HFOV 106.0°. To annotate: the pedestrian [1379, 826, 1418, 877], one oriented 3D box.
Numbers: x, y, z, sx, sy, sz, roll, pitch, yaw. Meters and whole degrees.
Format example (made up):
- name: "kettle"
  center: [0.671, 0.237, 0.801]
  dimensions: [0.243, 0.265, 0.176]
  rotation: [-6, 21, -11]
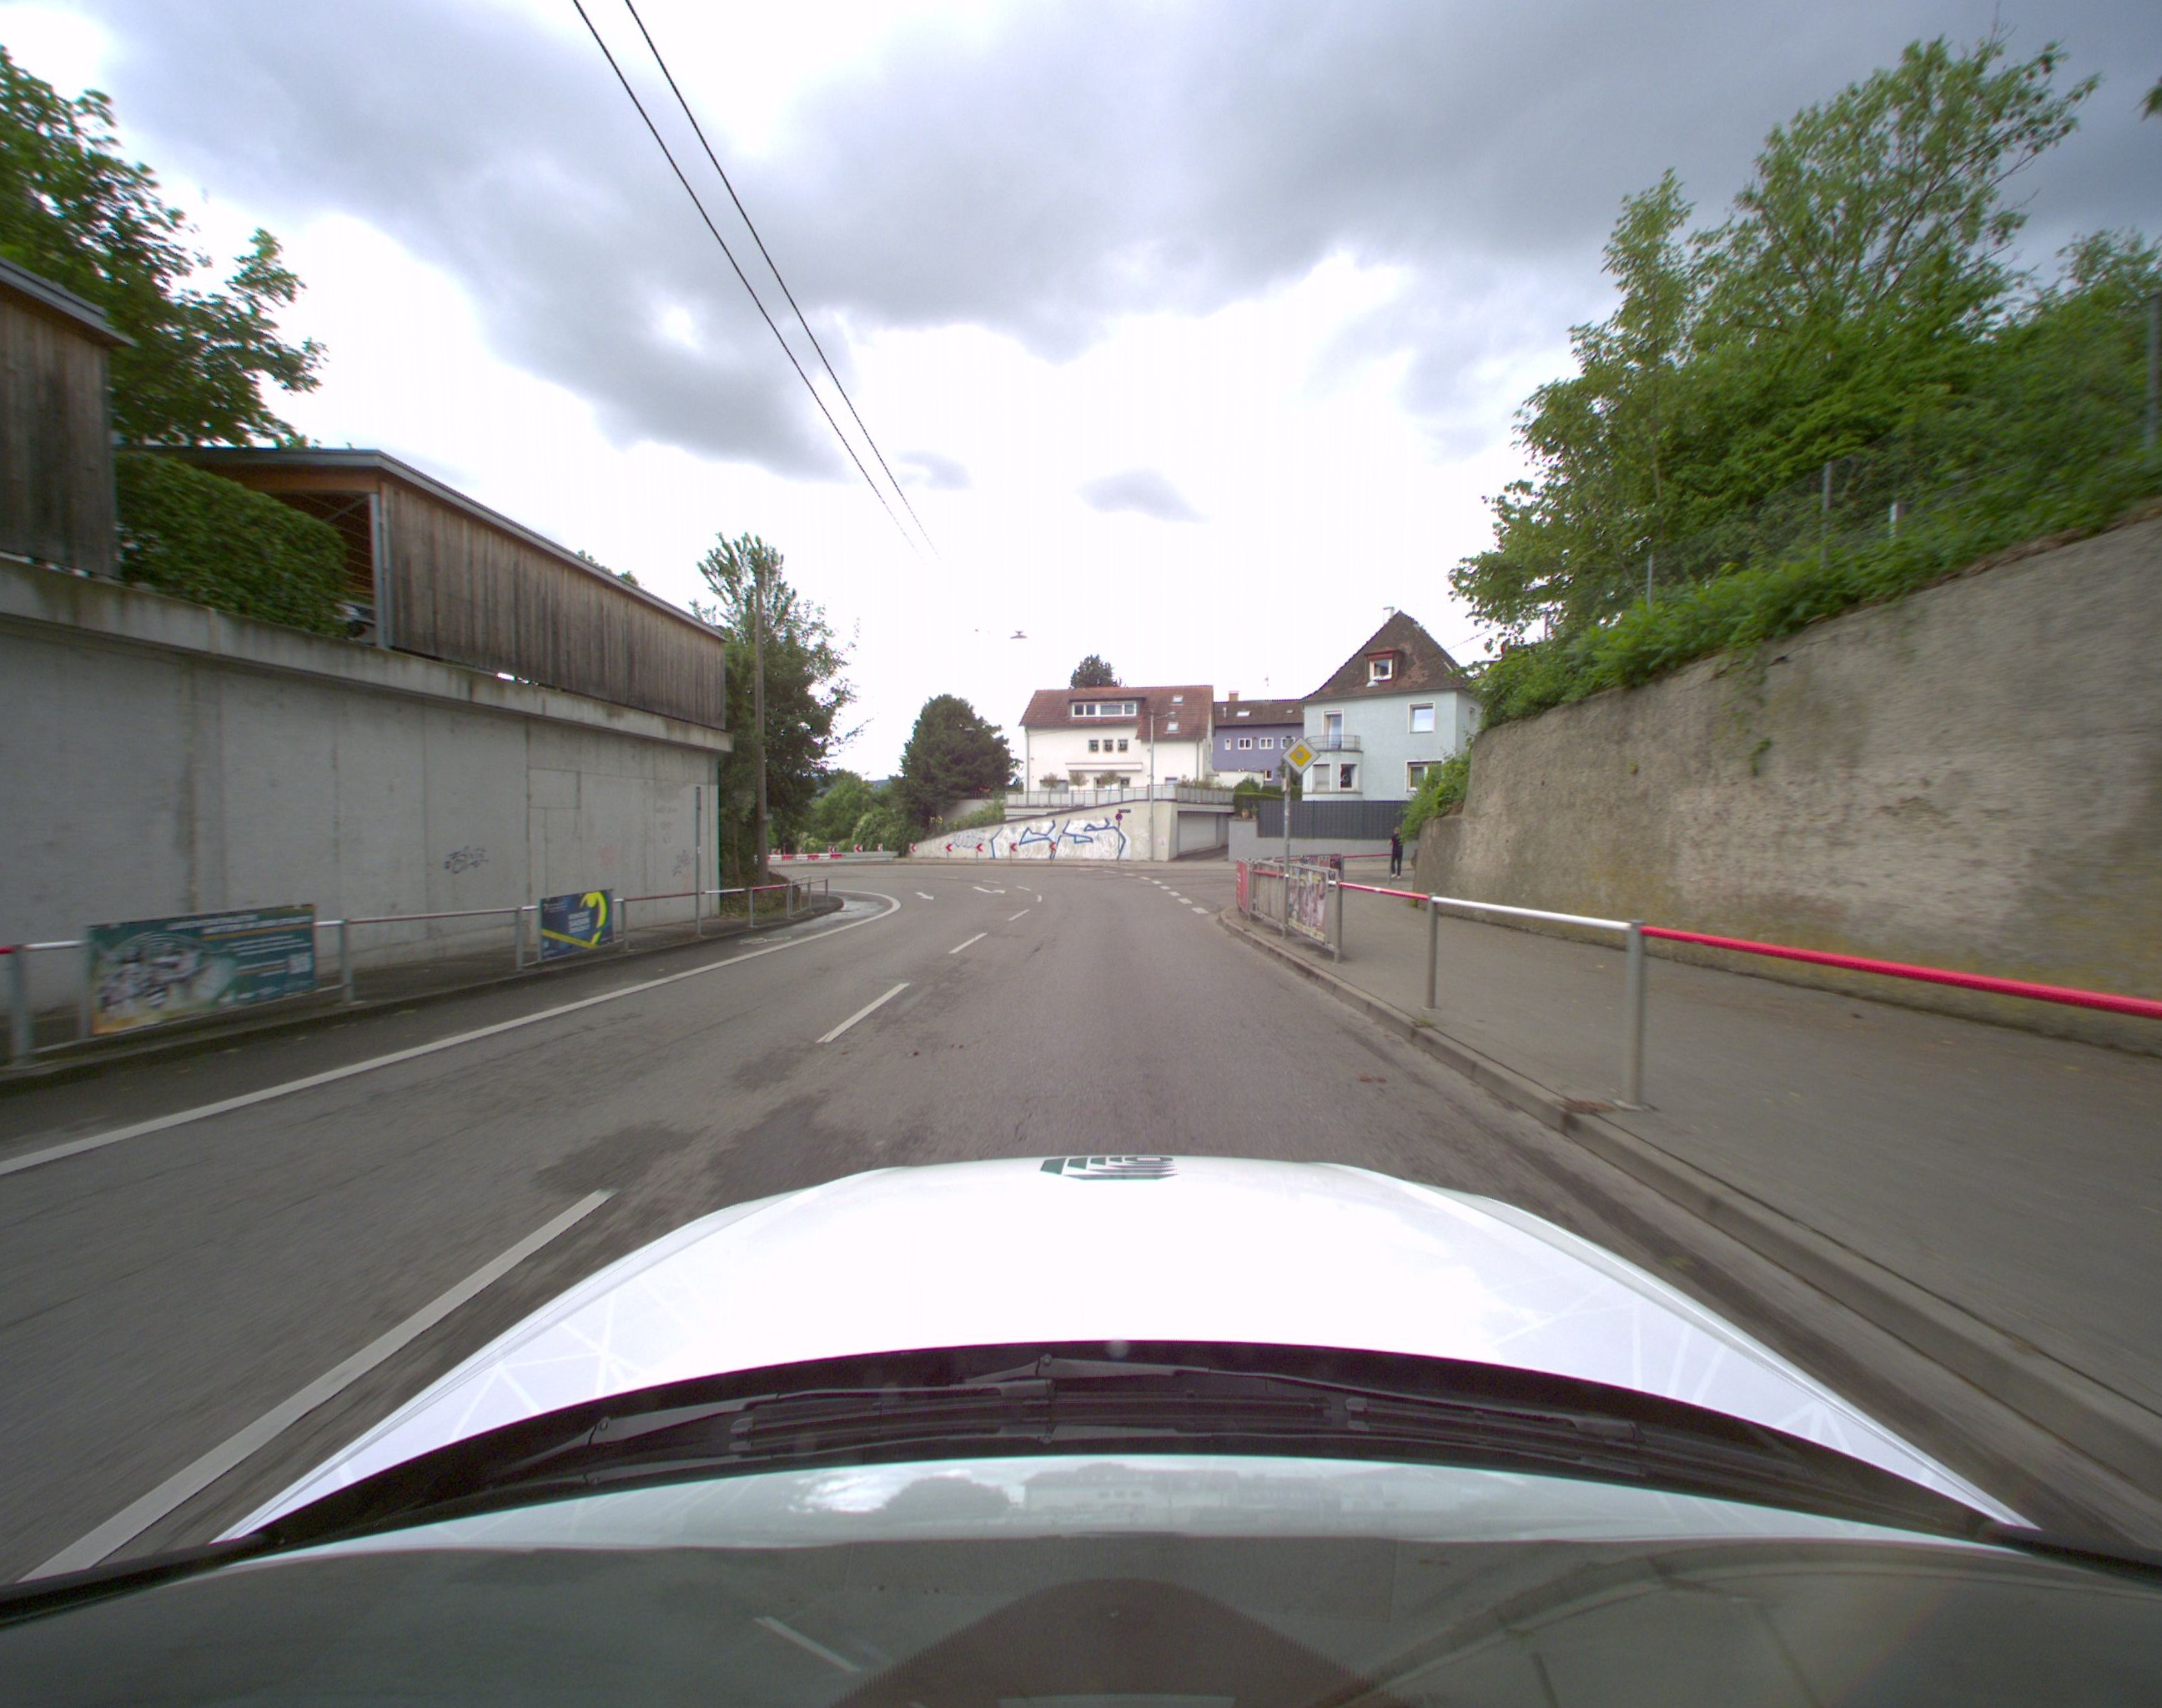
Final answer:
- name: "pedestrian"
  center: [11.451, -0.104, 29.371]
  dimensions: [0.826, 1.810, 1.003]
  rotation: [-3, 2, -42]
